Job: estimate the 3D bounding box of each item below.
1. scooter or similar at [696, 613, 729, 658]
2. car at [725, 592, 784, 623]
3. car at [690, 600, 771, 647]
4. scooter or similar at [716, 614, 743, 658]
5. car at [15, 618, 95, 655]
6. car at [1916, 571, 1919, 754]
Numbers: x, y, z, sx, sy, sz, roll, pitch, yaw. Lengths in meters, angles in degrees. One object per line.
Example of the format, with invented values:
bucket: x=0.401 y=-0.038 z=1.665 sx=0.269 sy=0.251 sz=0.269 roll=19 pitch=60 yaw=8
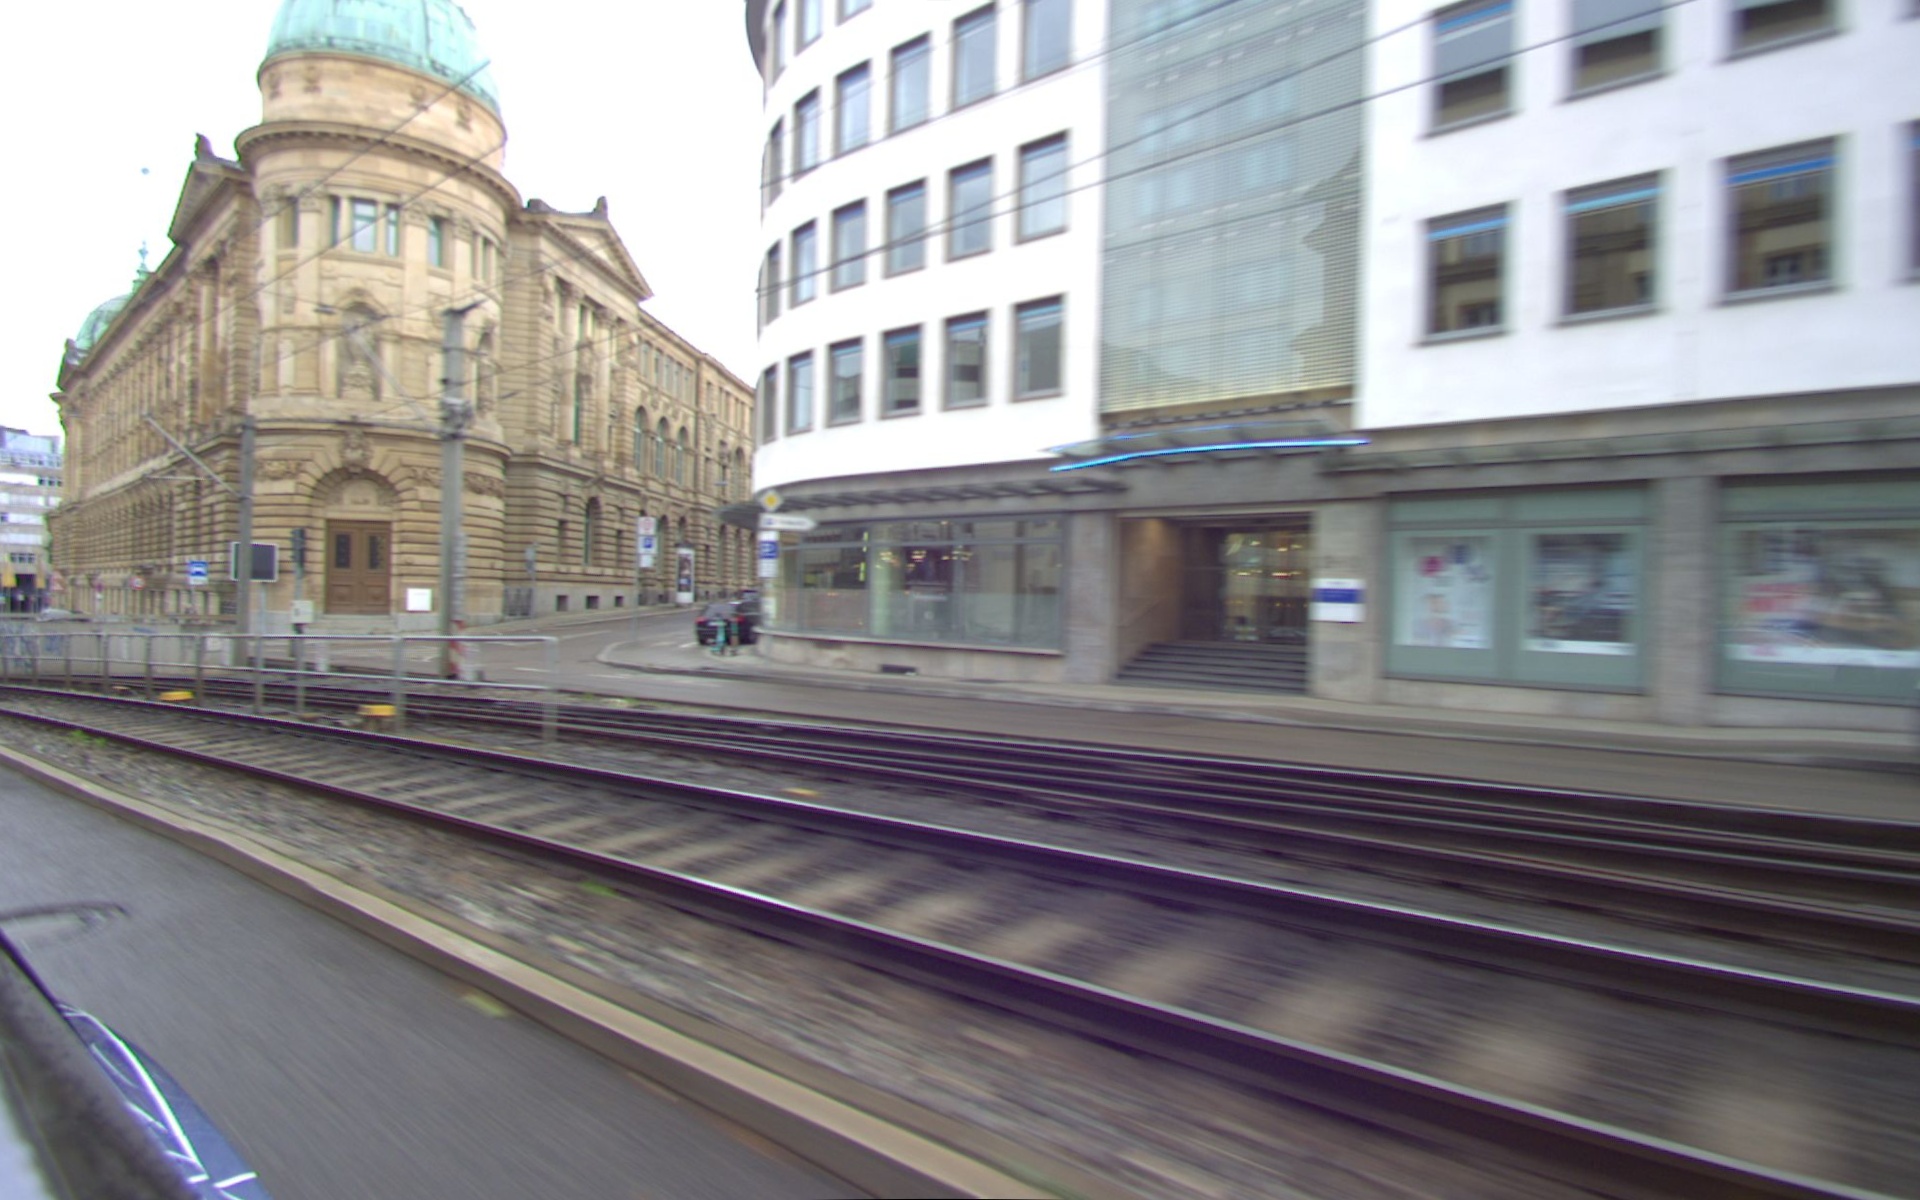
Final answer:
scooter or similar: x=-7.175 y=1.009 z=29.247 sx=0.404 sy=1.209 sz=1.564 roll=-1 pitch=1 yaw=-34
car: x=-11.306 y=0.382 z=56.037 sx=1.977 sy=1.652 sz=3.990 roll=0 pitch=1 yaw=8
car: x=-7.706 y=0.741 z=34.413 sx=1.760 sy=1.408 sz=4.326 roll=0 pitch=1 yaw=0
scooter or similar: x=-6.722 y=1.026 z=29.476 sx=0.404 sy=1.209 sz=1.565 roll=-1 pitch=1 yaw=-27
car: x=-39.387 y=1.571 z=44.036 sx=3.996 sy=1.397 sz=1.974 roll=1 pitch=1 yaw=39
car: x=11.315 y=0.640 z=8.109 sx=5.125 sy=1.856 sz=1.974 roll=1 pitch=-1 yaw=38
